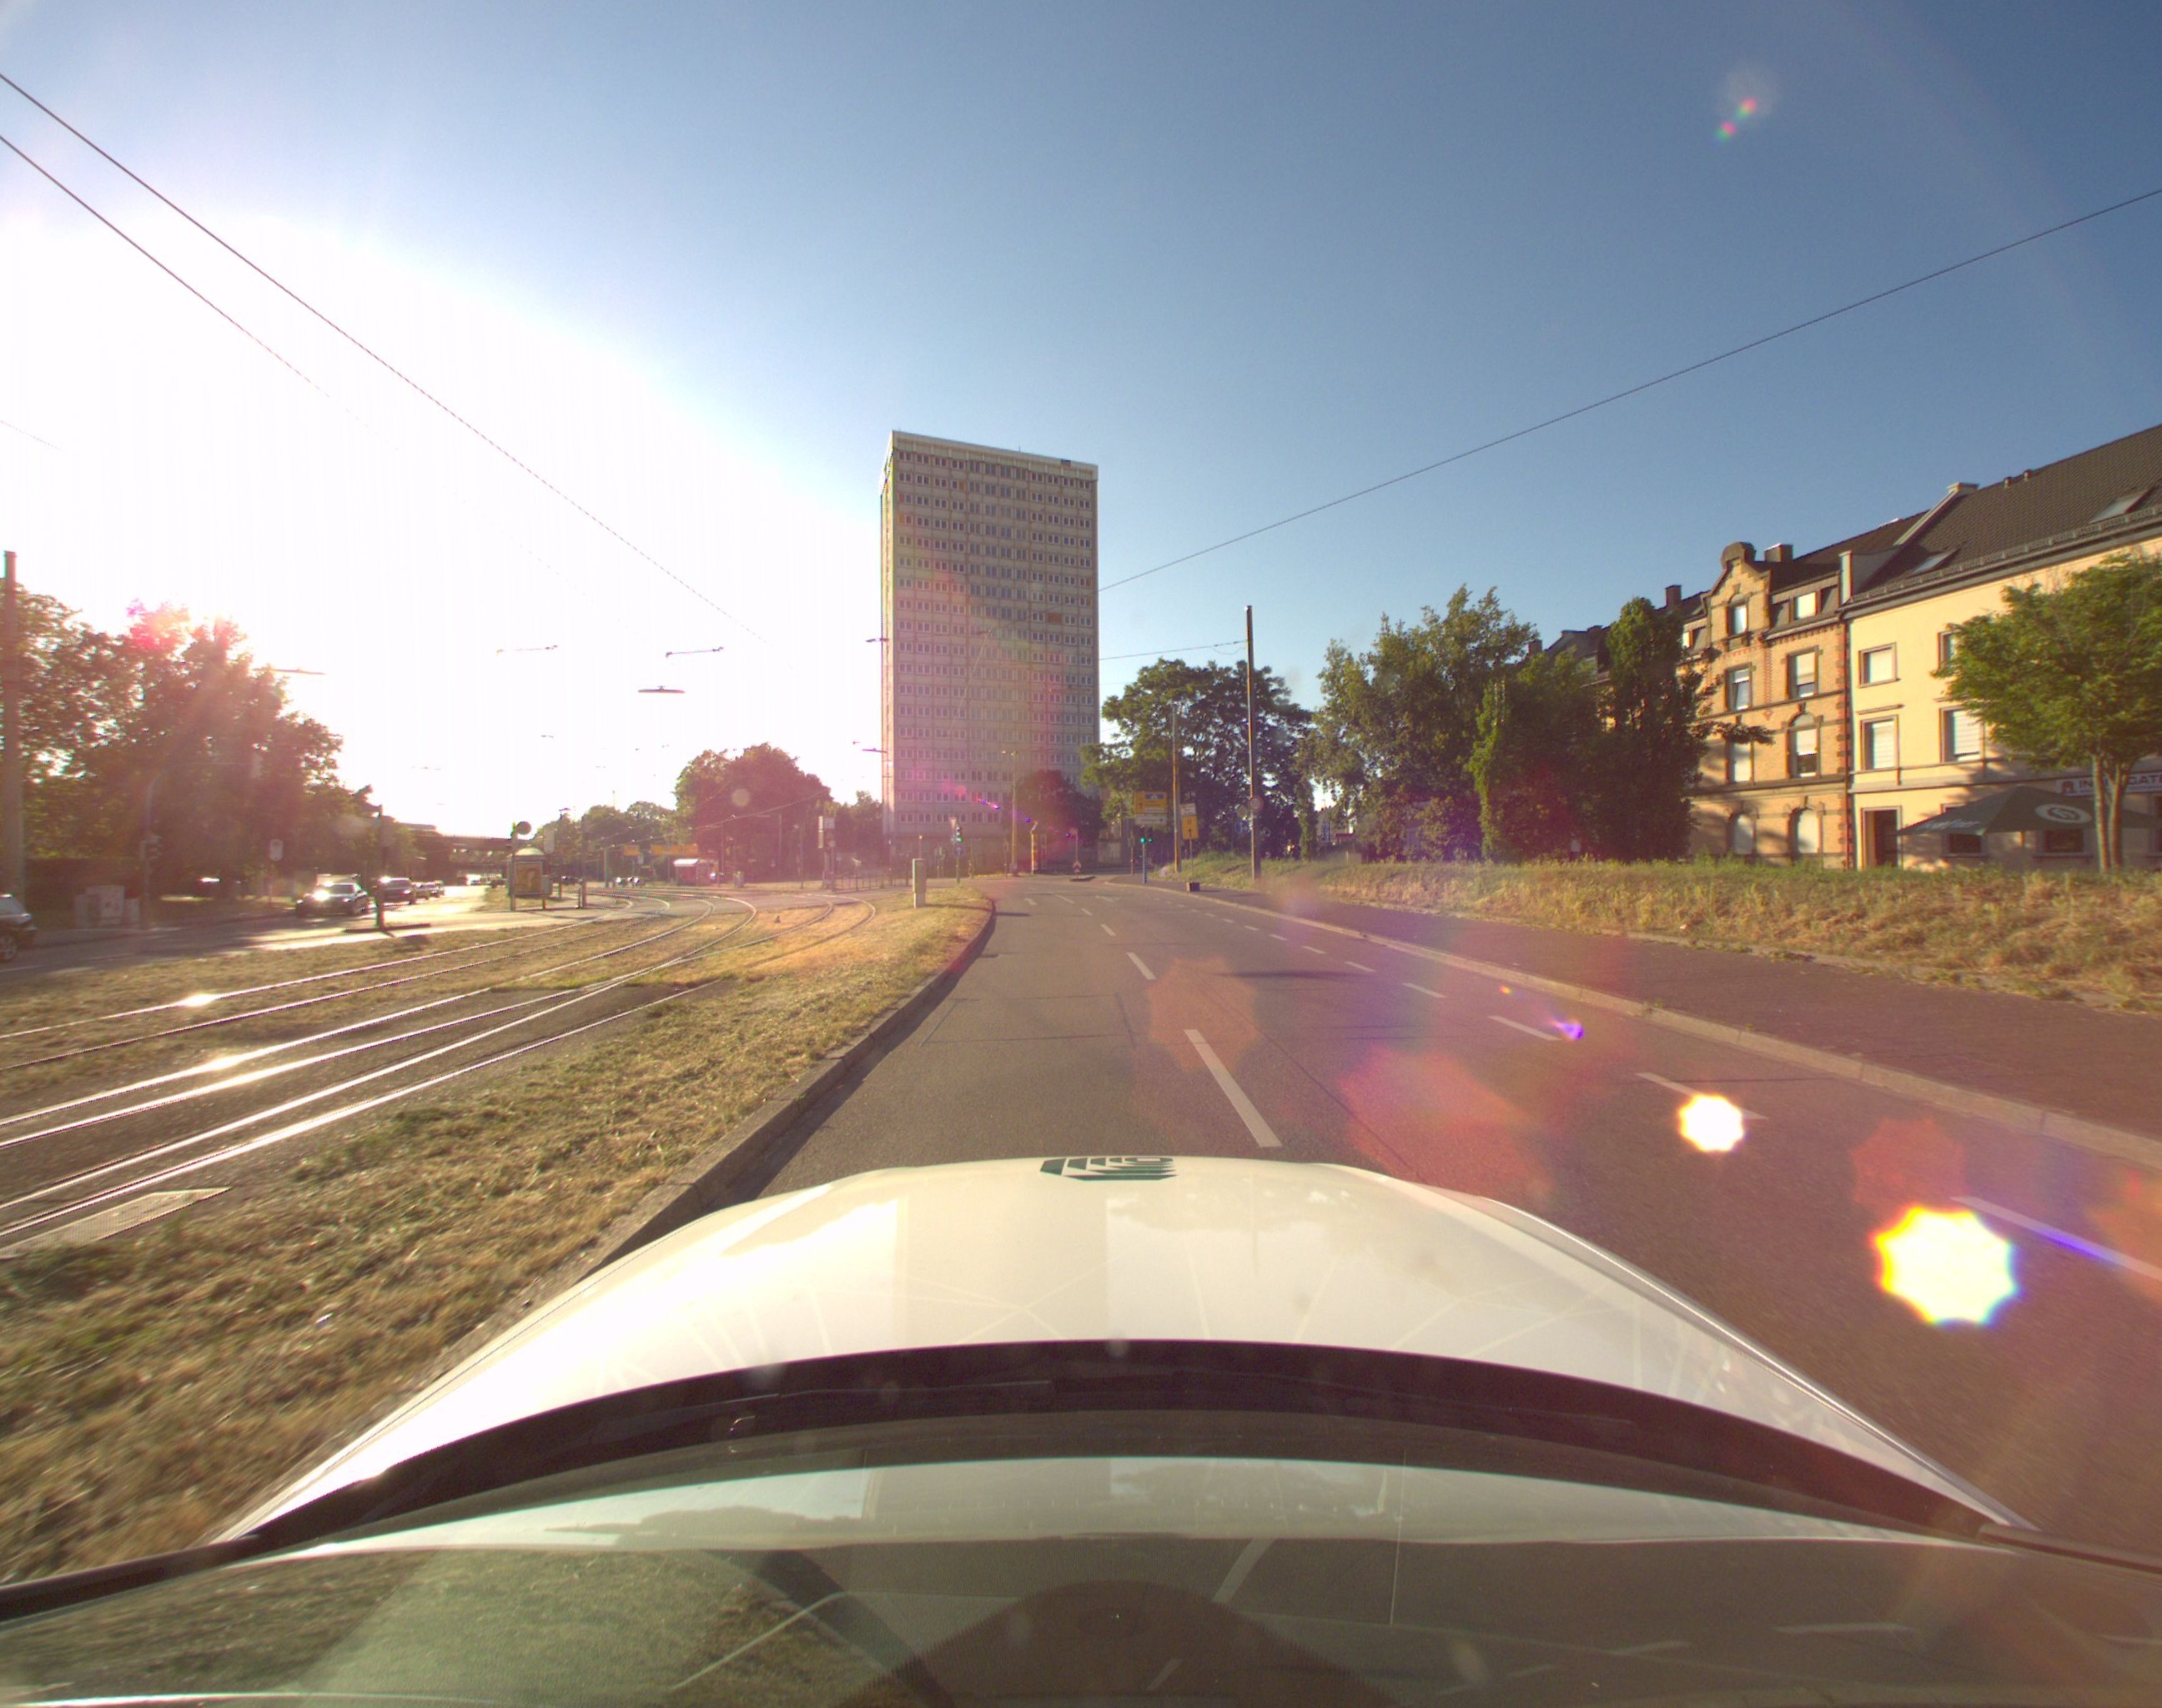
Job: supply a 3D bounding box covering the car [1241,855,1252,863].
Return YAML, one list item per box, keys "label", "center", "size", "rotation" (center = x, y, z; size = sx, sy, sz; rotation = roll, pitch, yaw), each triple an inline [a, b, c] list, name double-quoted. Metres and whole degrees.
- label: "car"
  center: [33.483, 1.043, 164.645]
  size: [1.859, 1.458, 3.803]
  rotation: [-2, 0, 16]

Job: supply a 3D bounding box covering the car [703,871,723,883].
- label: "car"
  center: [-45.900, 2.861, 101.452]
  size: [1.784, 1.422, 3.817]
  rotation: [-1, -1, -32]

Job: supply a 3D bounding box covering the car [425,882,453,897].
- label: "car"
  center: [-61.154, 3.377, 77.616]
  size: [1.814, 1.367, 3.923]
  rotation: [-1, -1, -34]

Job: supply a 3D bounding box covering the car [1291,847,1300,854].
- label: "car"
  center: [51.218, -0.760, 194.445]
  size: [1.844, 1.543, 3.896]
  rotation: [-2, -1, 17]

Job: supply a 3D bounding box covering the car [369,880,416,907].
- label: "car"
  center: [-42.577, 2.423, 50.426]
  size: [1.590, 1.595, 4.111]
  rotation: [0, -2, -31]

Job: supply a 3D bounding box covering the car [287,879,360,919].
- label: "car"
  center: [-33.018, 1.924, 35.617]
  size: [1.663, 1.596, 4.537]
  rotation: [0, -1, -34]

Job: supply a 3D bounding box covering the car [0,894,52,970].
- label: "car"
  center: [-22.108, 1.583, 15.052]
  size: [1.782, 1.482, 4.369]
  rotation: [-2, 0, -20]

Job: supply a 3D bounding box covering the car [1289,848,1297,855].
- label: "car"
  center: [54.334, -0.616, 208.666]
  size: [1.844, 1.543, 4.018]
  rotation: [-2, -1, 17]

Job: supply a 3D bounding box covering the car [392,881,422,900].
- label: "car"
  center: [-52.865, 2.832, 63.927]
  size: [1.557, 1.340, 3.554]
  rotation: [-1, -1, -36]

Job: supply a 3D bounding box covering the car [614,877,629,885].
- label: "car"
  center: [-93.092, 5.431, 165.023]
  size: [2.054, 1.446, 3.954]
  rotation: [-1, 0, -38]

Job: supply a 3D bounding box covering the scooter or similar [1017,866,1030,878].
- label: "scooter or similar"
  center: [-6.205, 1.956, 88.301]
  size: [1.300, 1.170, 0.325]
  rotation: [-1, -1, -18]

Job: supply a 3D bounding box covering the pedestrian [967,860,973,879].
- label: "pedestrian"
  center: [-9.527, 1.312, 70.030]
  size: [0.436, 1.612, 0.628]
  rotation: [-2, -1, -9]

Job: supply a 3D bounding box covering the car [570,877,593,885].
- label: "car"
  center: [-128.378, 6.971, 209.316]
  size: [4.863, 2.014, 1.987]
  rotation: [0, 0, -20]
